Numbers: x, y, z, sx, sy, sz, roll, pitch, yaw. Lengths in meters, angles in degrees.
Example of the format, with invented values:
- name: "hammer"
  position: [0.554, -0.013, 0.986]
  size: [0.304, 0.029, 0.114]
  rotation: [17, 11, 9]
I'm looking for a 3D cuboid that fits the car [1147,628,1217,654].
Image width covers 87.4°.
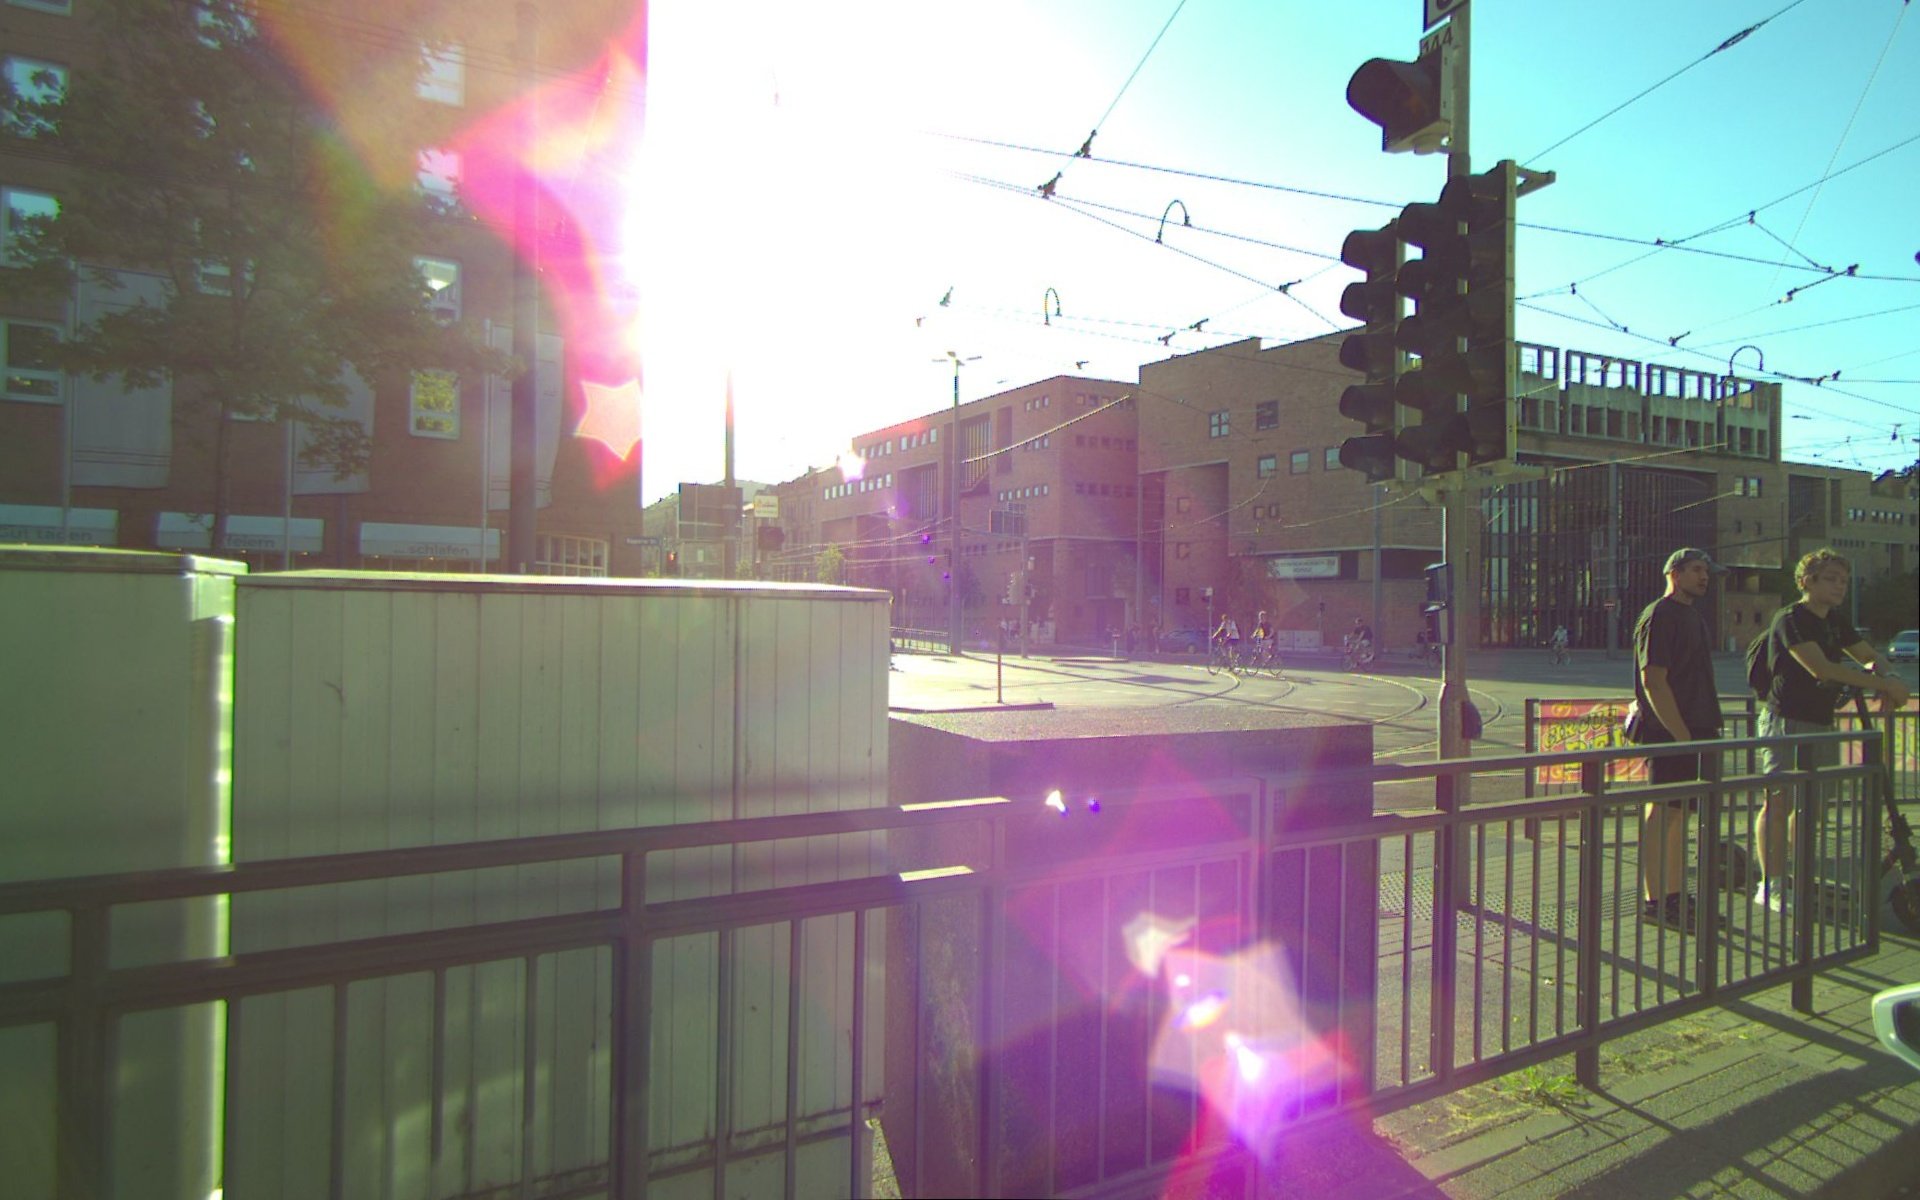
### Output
- name: "car"
  position: [12.607, 2.297, 57.109]
  size: [1.575, 1.394, 3.668]
  rotation: [2, -2, -44]

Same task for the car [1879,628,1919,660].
- name: "car"
  position: [48.919, 2.261, 51.707]
  size: [3.962, 1.598, 1.610]
  rotation: [1, -2, -36]

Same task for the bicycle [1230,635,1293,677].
- name: "bicycle"
  position: [9.355, 1.715, 31.128]
  size: [2.087, 1.157, 0.681]
  rotation: [-1, 0, -33]

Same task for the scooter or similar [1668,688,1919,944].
- name: "scooter or similar"
  position: [4.485, 1.046, 5.192]
  size: [0.639, 1.095, 1.199]
  rotation: [1, -1, -25]

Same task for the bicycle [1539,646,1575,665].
- name: "bicycle"
  position: [25.726, 2.366, 43.275]
  size: [1.948, 0.781, 0.586]
  rotation: [1, -2, -35]

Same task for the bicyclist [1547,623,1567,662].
- name: "bicyclist"
  position: [25.707, 1.821, 43.267]
  size: [0.509, 1.647, 0.583]
  rotation: [1, -1, -34]

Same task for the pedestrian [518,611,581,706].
- name: "pedestrian"
  position: [-8.235, 1.160, 20.145]
  size: [0.948, 1.822, 0.984]
  rotation: [2, 0, -34]

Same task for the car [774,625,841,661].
- name: "car"
  position: [-7.799, 2.153, 51.180]
  size: [1.978, 1.709, 3.965]
  rotation: [1, -2, -33]

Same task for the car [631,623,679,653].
- name: "car"
  position: [-18.227, 2.242, 59.868]
  size: [1.738, 1.750, 3.965]
  rotation: [1, -2, -32]

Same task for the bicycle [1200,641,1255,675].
- name: "bicycle"
  position: [8.484, 1.825, 31.838]
  size: [1.883, 1.011, 0.648]
  rotation: [1, -2, -35]

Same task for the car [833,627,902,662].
- name: "car"
  position: [-4.809, 2.246, 51.805]
  size: [1.978, 1.709, 3.965]
  rotation: [1, -2, -33]

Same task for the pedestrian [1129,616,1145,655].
- name: "pedestrian"
  position: [9.352, 1.846, 53.058]
  size: [0.603, 2.040, 0.731]
  rotation: [0, -1, 30]

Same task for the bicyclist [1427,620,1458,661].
- name: "bicyclist"
  position: [18.202, 1.519, 37.881]
  size: [1.022, 1.494, 0.649]
  rotation: [2, -1, -35]

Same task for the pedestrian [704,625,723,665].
- name: "pedestrian"
  position: [-11.702, 2.133, 47.715]
  size: [0.597, 1.843, 0.848]
  rotation: [1, -1, -38]

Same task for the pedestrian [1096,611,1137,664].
- name: "pedestrian"
  position: [6.223, 1.471, 39.875]
  size: [1.193, 2.040, 1.028]
  rotation: [2, 0, -30]

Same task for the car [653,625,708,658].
- name: "car"
  position: [-15.294, 2.225, 54.856]
  size: [1.739, 1.750, 3.963]
  rotation: [1, -2, -33]

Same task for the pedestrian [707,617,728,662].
- name: "pedestrian"
  position: [-11.026, 1.790, 45.638]
  size: [0.597, 2.040, 0.848]
  rotation: [1, -1, -38]

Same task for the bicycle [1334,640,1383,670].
- name: "bicycle"
  position: [13.744, 1.885, 34.641]
  size: [1.884, 1.011, 0.688]
  rotation: [1, -2, -37]

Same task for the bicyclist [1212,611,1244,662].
- name: "bicyclist"
  position: [8.483, 1.157, 31.836]
  size: [0.751, 1.595, 0.656]
  rotation: [1, -1, -35]

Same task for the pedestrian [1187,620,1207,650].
- name: "pedestrian"
  position: [16.519, 2.435, 70.017]
  size: [0.841, 2.079, 1.001]
  rotation: [1, -1, -32]

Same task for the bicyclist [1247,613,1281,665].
- name: "bicyclist"
  position: [9.435, 1.205, 31.190]
  size: [0.750, 1.581, 0.678]
  rotation: [-1, 0, -32]

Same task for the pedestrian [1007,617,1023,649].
- name: "pedestrian"
  position: [3.507, 2.126, 64.155]
  size: [0.644, 2.040, 0.780]
  rotation: [1, -1, -32]

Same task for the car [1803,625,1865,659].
- name: "car"
  position: [49.443, 2.335, 56.810]
  size: [3.964, 1.786, 1.854]
  rotation: [1, 0, -37]

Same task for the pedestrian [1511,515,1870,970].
- name: "pedestrian"
  position: [3.523, 0.615, 4.935]
  size: [0.843, 1.908, 1.164]
  rotation: [1, -1, -25]

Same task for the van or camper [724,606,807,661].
- name: "van or camper"
  position: [-9.354, 1.576, 47.942]
  size: [1.981, 2.451, 4.980]
  rotation: [1, -2, -36]

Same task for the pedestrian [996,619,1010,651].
- name: "pedestrian"
  position: [2.753, 2.243, 64.006]
  size: [0.607, 2.040, 0.727]
  rotation: [1, -1, -32]

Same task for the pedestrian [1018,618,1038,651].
- name: "pedestrian"
  position: [4.187, 2.109, 62.039]
  size: [0.917, 2.010, 0.780]
  rotation: [1, -1, -32]

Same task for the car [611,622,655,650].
- name: "car"
  position: [-20.990, 2.292, 64.341]
  size: [1.738, 1.750, 3.965]
  rotation: [1, -2, -32]

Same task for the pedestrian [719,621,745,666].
- name: "pedestrian"
  position: [-9.163, 1.740, 40.389]
  size: [0.857, 1.775, 0.672]
  rotation: [1, -1, -30]

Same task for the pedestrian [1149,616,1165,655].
- name: "pedestrian"
  position: [10.302, 1.837, 52.615]
  size: [0.603, 2.040, 0.731]
  rotation: [0, -1, 30]

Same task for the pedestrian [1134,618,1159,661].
- name: "pedestrian"
  position: [8.664, 1.825, 46.621]
  size: [0.866, 1.927, 0.718]
  rotation: [2, 0, -33]

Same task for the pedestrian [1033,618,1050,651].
- name: "pedestrian"
  position: [5.054, 2.138, 62.594]
  size: [0.742, 2.010, 0.780]
  rotation: [1, -1, -32]

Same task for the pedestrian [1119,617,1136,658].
- name: "pedestrian"
  position: [8.457, 1.879, 50.778]
  size: [0.603, 2.040, 0.731]
  rotation: [0, -1, 30]

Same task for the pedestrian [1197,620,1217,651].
- name: "pedestrian"
  position: [16.974, 2.421, 69.049]
  size: [0.841, 2.079, 1.001]
  rotation: [1, -1, -32]

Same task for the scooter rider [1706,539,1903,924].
- name: "scooter rider"
  position: [4.453, 0.658, 5.305]
  size: [0.670, 1.877, 0.564]
  rotation: [3, -2, -25]

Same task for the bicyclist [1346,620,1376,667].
- name: "bicyclist"
  position: [13.851, 1.487, 34.702]
  size: [0.752, 1.590, 0.656]
  rotation: [1, -2, -37]

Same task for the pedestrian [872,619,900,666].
- name: "pedestrian"
  position: [-2.880, 1.642, 39.086]
  size: [0.860, 1.775, 0.670]
  rotation: [1, -2, -39]

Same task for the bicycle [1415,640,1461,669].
- name: "bicycle"
  position: [17.946, 2.043, 37.698]
  size: [1.993, 1.064, 0.647]
  rotation: [2, -1, -35]
